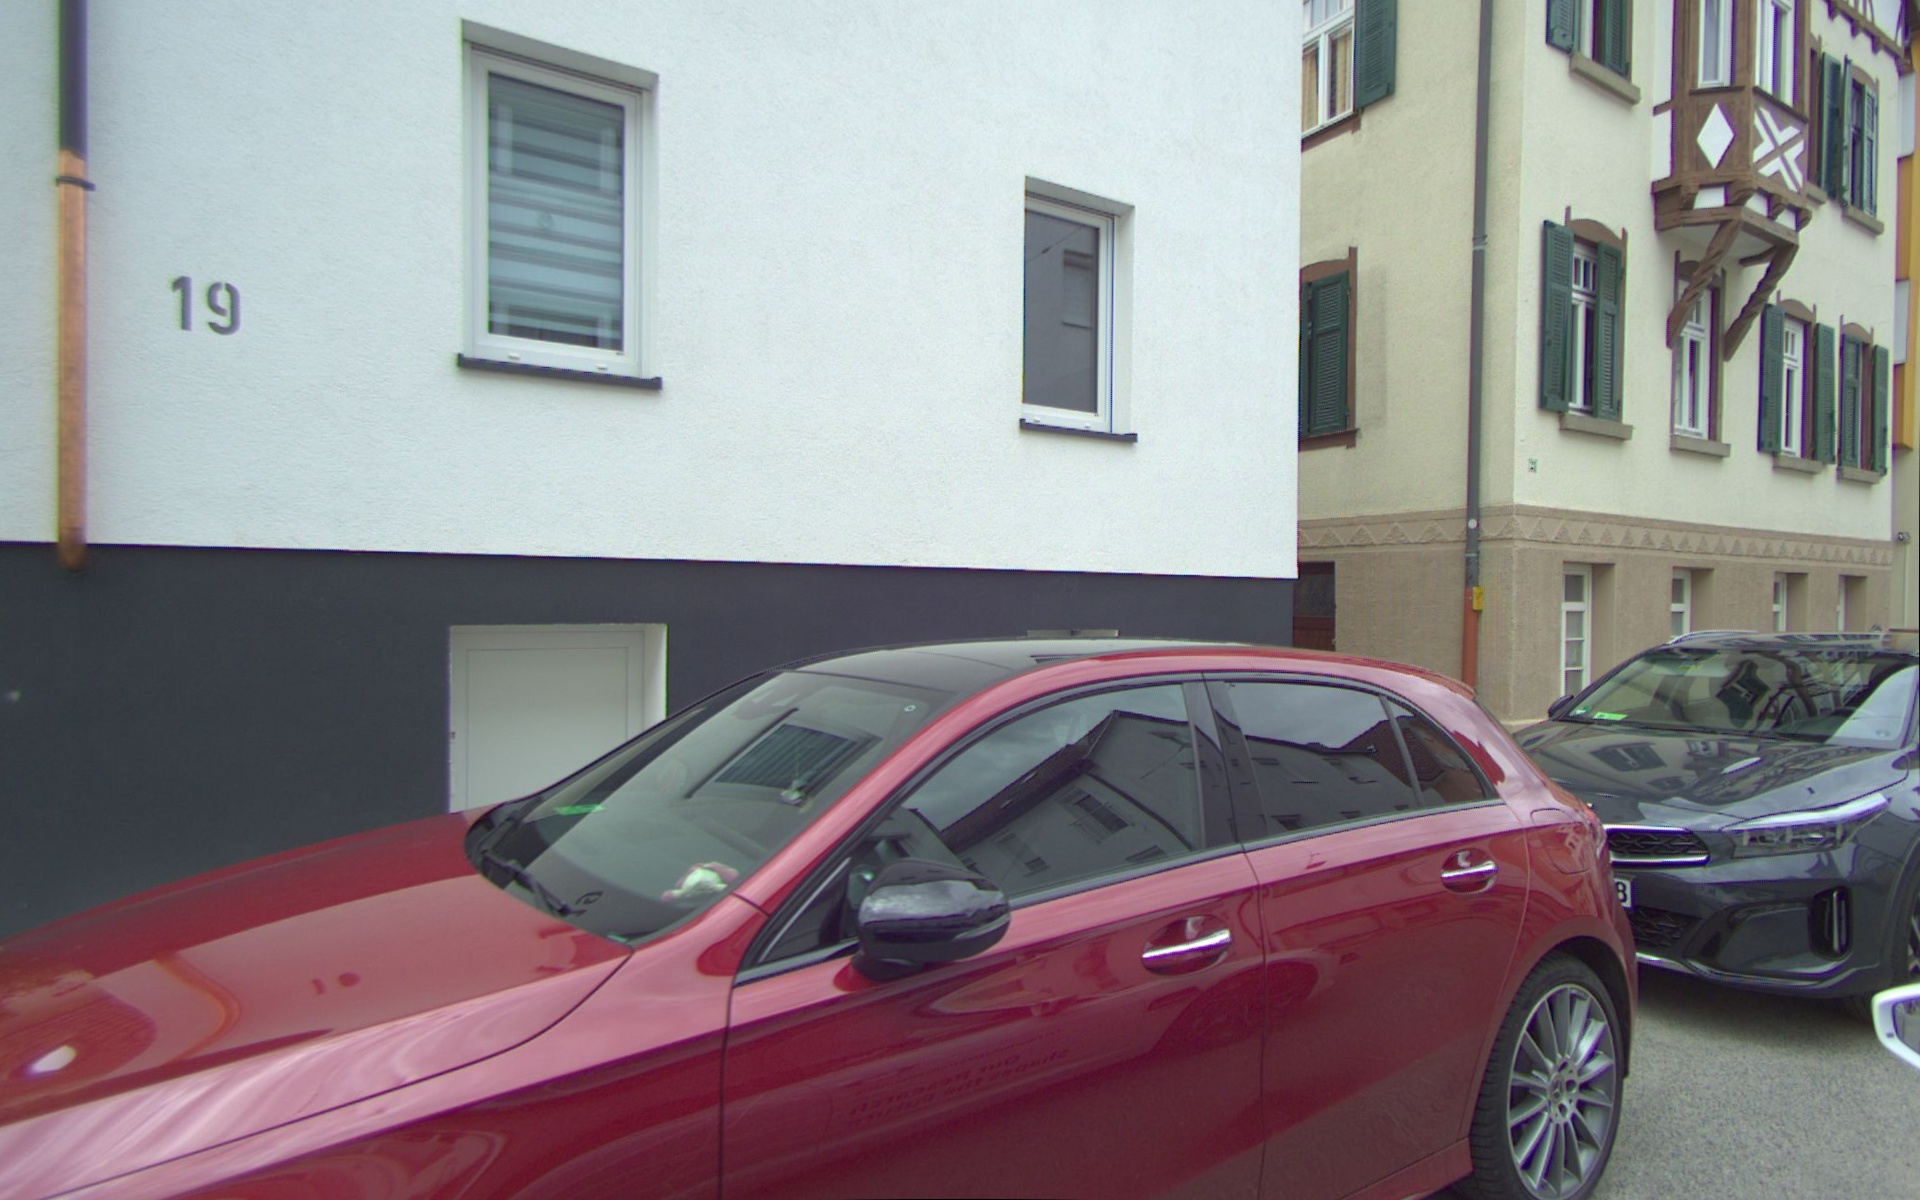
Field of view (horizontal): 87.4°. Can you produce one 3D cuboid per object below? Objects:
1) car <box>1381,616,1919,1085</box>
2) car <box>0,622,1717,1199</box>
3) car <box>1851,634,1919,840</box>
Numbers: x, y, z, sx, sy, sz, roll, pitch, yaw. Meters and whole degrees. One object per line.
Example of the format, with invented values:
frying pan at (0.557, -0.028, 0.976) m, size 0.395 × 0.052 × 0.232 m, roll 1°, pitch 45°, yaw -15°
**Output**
car at (4.135, 0.880, 5.048) m, size 3.936 × 1.515 × 1.760 m, roll 1°, pitch -2°, yaw -31°
car at (-0.066, 0.795, 2.542) m, size 4.123 × 1.436 × 1.760 m, roll 1°, pitch -2°, yaw -31°
car at (8.613, 1.005, 7.770) m, size 3.811 × 1.443 × 1.598 m, roll 1°, pitch -1°, yaw -32°
